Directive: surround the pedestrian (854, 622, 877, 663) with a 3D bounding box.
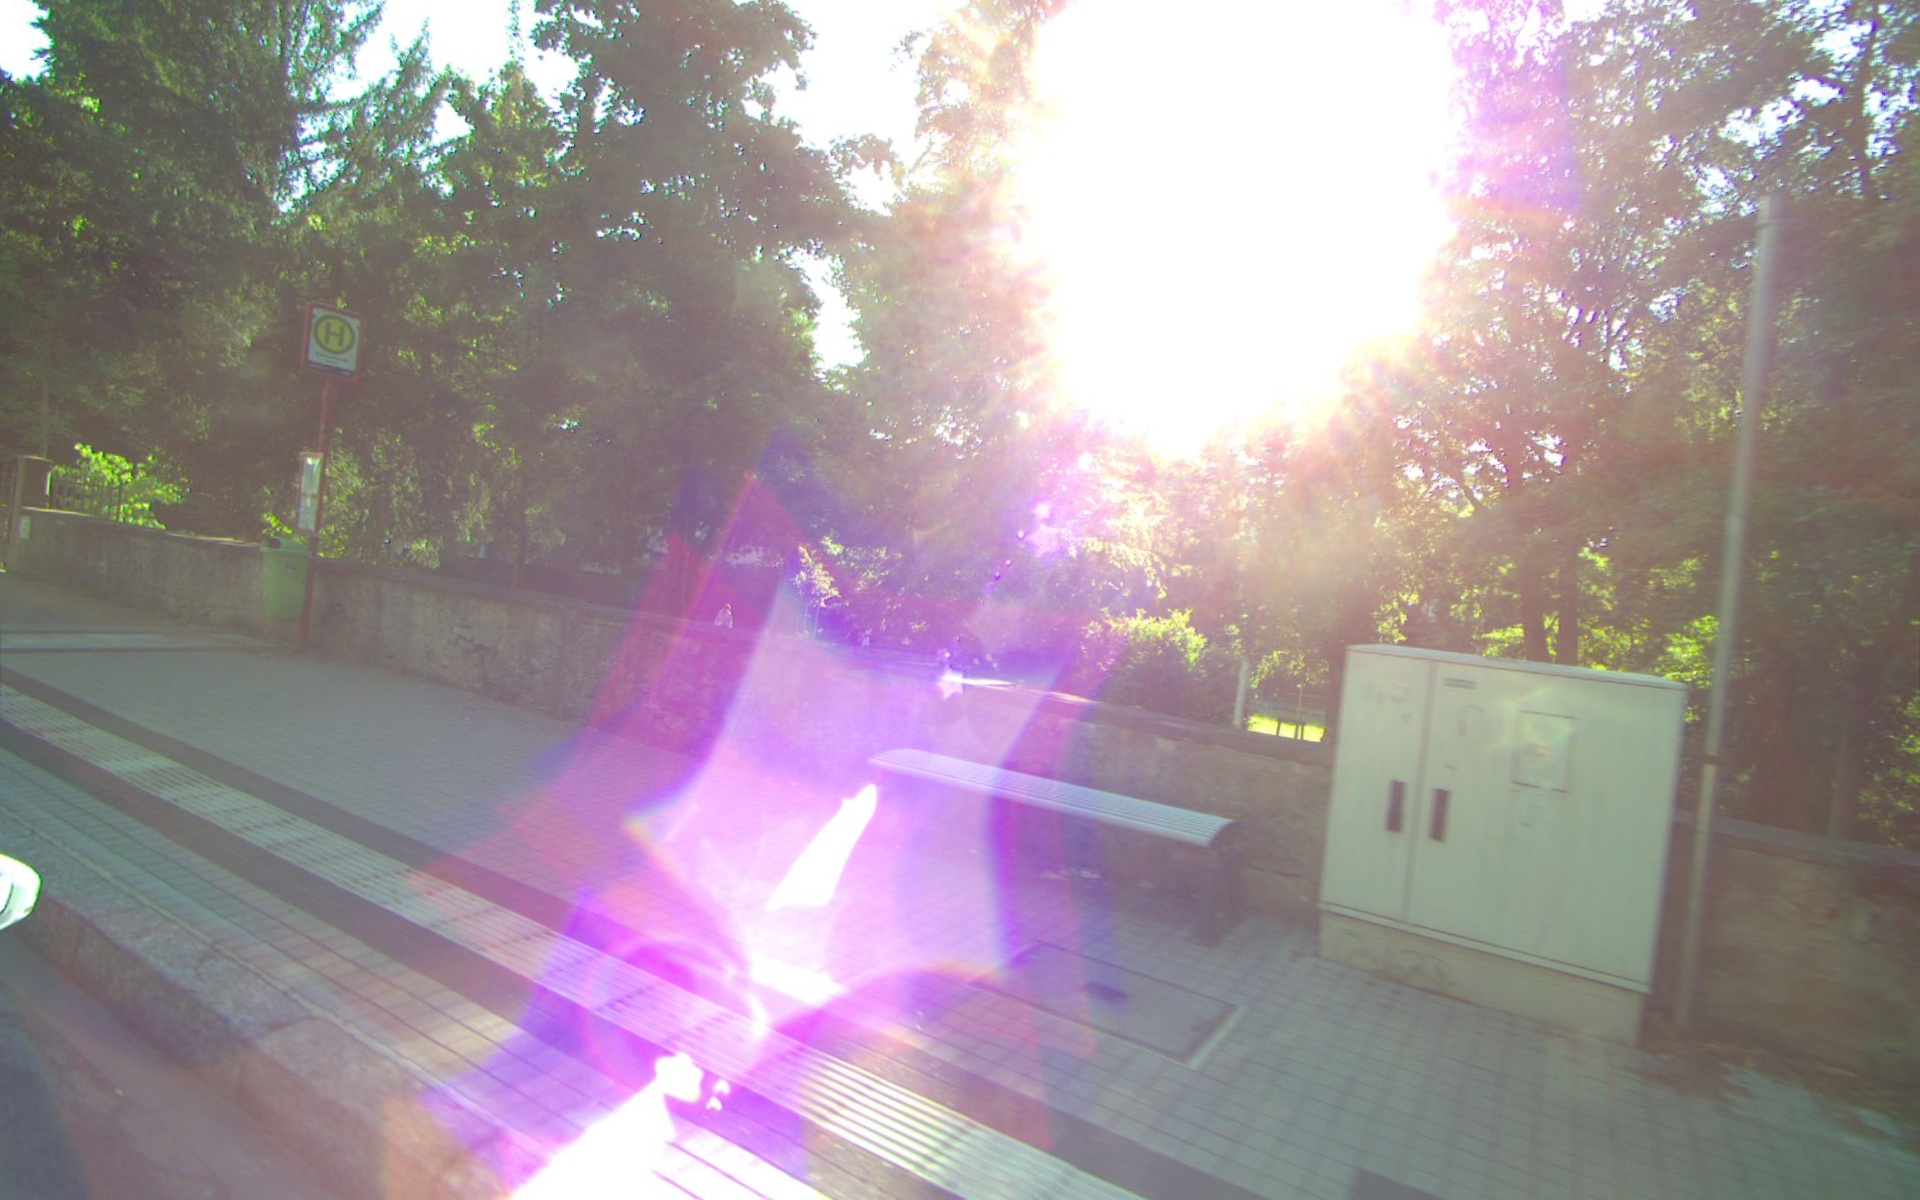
[{"bbox_3d":[-4.287,1.943,45.822,0.588,1.749,0.591,7,-1,31],"label":"pedestrian"}]

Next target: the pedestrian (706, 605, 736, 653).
[{"bbox_3d":[-8.779,1.081,36.988,0.626,1.659,0.616,7,-1,33],"label":"pedestrian"}]

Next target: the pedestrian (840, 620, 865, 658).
[{"bbox_3d":[-4.959,1.808,46.249,0.749,1.636,0.565,7,-1,35],"label":"pedestrian"}]
